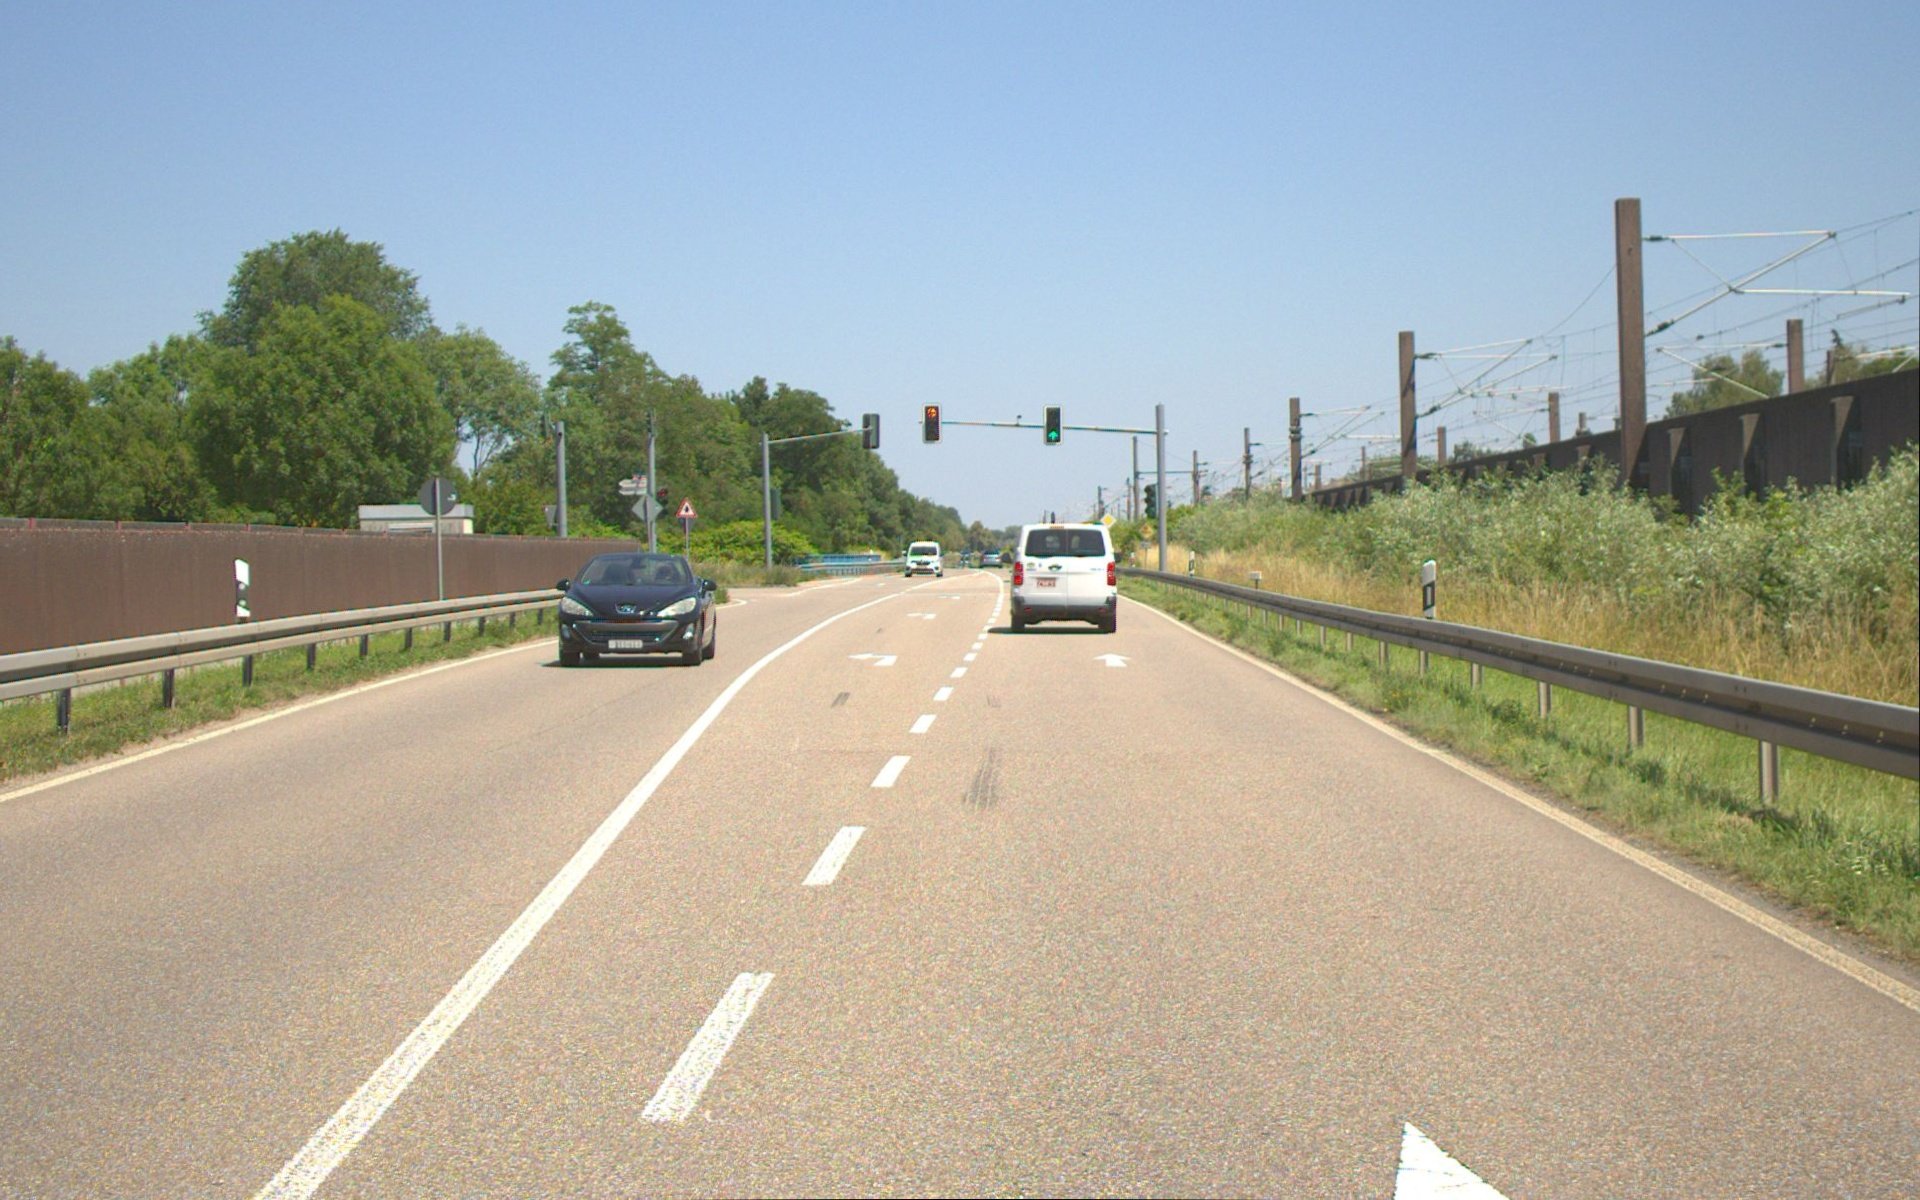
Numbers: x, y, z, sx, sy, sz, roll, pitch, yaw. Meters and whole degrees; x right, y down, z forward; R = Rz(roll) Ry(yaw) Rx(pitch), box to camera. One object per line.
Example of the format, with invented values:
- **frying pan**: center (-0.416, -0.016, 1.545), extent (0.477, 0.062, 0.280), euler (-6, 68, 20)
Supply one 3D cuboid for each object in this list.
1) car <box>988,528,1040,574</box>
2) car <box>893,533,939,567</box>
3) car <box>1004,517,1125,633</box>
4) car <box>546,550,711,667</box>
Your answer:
- **car**: center (2.344, -2.158, 150.809), extent (2.155, 1.961, 4.543), euler (0, 1, -1)
- **car**: center (-2.260, -2.594, 176.889), extent (1.887, 1.734, 4.778), euler (0, 1, -7)
- **car**: center (1.833, -0.471, 61.569), extent (1.993, 1.977, 4.060), euler (1, 1, 0)
- **car**: center (-4.186, 0.076, 43.921), extent (1.845, 1.385, 4.191), euler (1, 1, -2)
